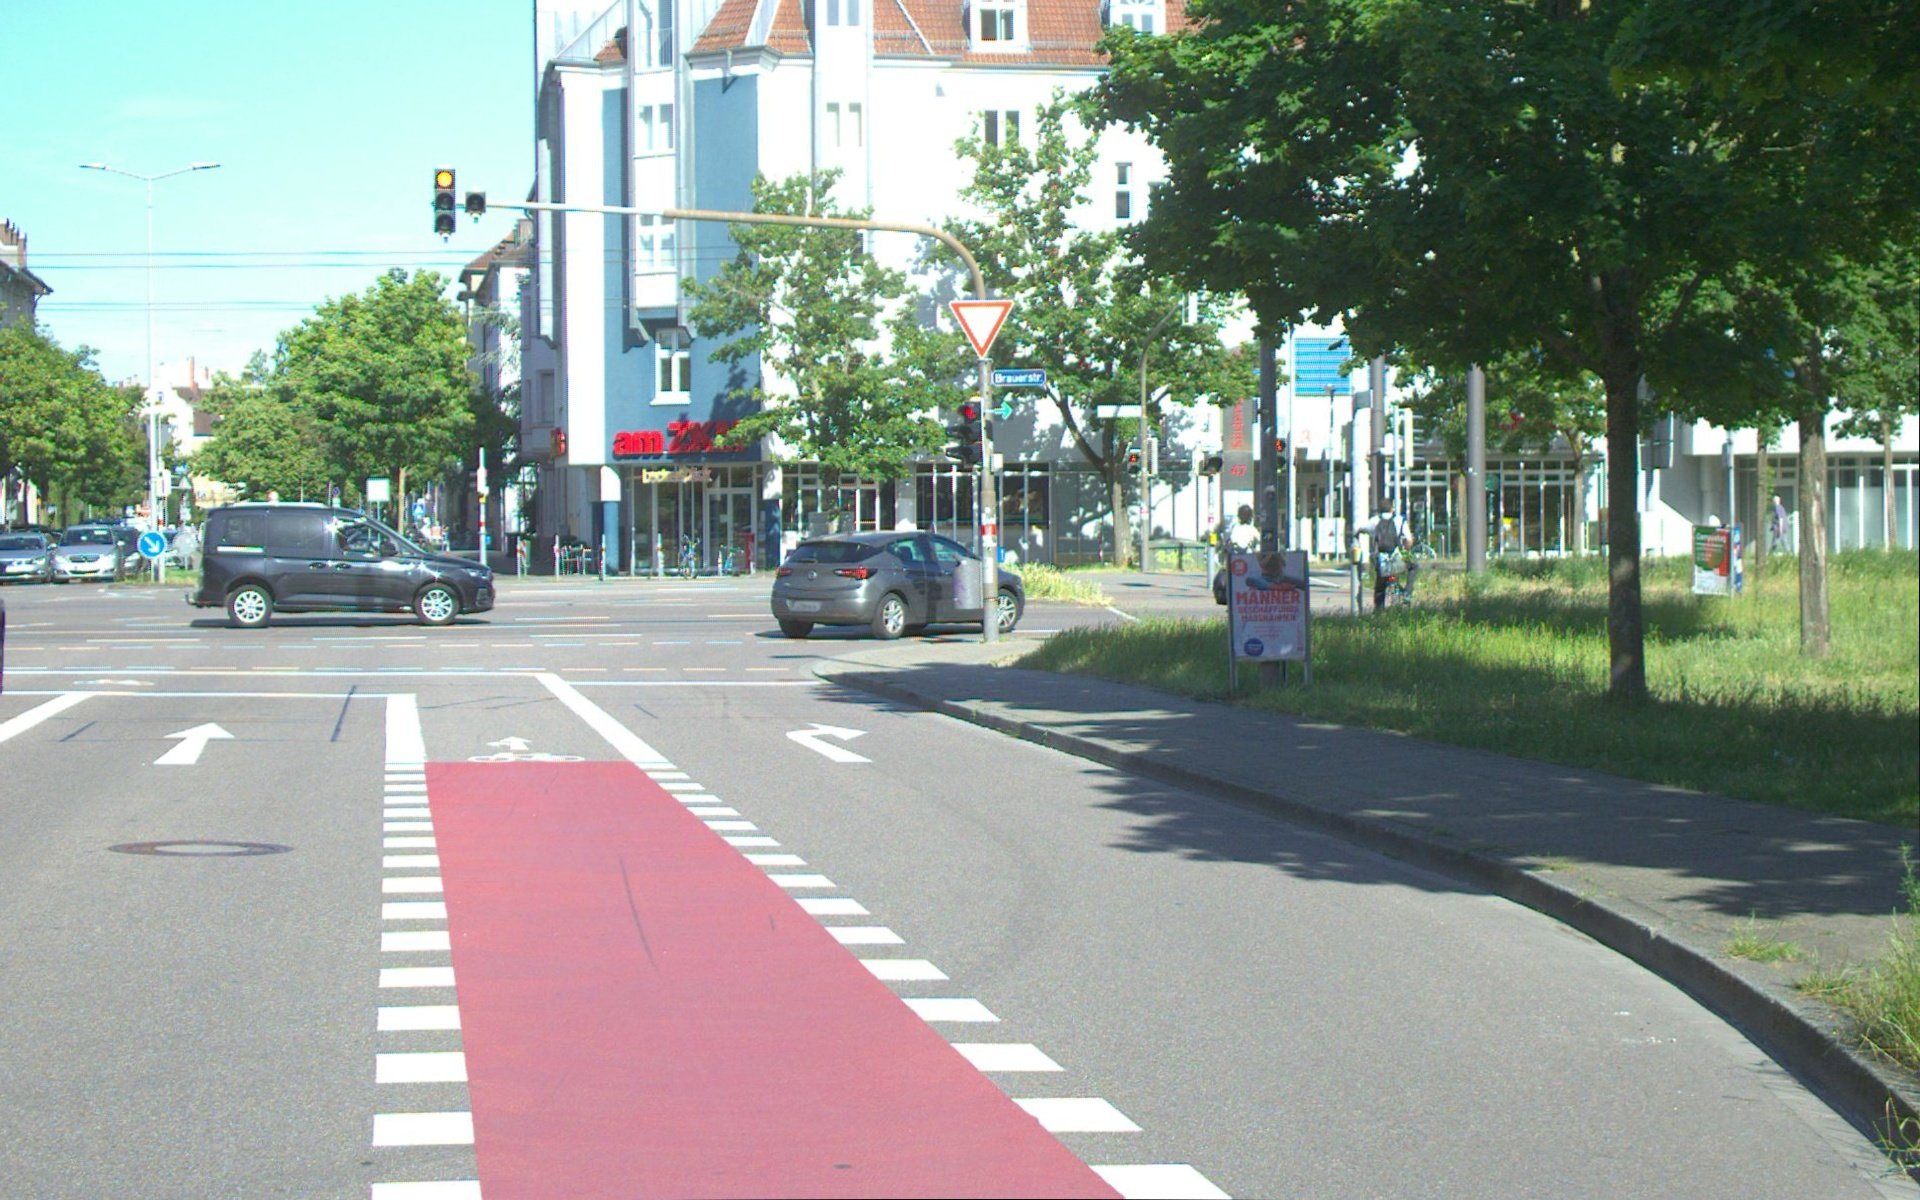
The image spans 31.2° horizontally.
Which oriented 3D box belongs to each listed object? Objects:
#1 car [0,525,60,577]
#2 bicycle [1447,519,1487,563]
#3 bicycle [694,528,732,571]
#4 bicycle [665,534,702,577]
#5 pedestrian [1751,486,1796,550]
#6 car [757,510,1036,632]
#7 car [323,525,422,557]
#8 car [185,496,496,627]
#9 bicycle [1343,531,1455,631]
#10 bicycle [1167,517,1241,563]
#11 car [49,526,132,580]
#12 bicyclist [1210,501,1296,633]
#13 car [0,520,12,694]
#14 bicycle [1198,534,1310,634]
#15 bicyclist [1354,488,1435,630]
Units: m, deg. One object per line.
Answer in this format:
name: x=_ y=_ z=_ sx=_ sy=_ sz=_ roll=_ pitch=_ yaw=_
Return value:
car: x=-26.799 y=-1.413 z=97.865 sx=1.687 sy=1.427 sz=4.401 roll=2 pitch=1 yaw=-7
bicycle: x=13.811 y=-1.619 z=93.701 sx=0.560 sy=1.178 sz=1.870 roll=-1 pitch=1 yaw=-8
bicycle: x=-5.988 y=-1.234 z=83.390 sx=0.471 sy=1.023 sz=1.516 roll=-1 pitch=1 yaw=-22
bicycle: x=-6.662 y=-1.084 z=82.755 sx=0.471 sy=1.023 sz=1.516 roll=-1 pitch=1 yaw=-21
pedestrian: x=22.132 y=-2.240 z=93.502 sx=0.989 sy=1.717 sz=0.654 roll=-1 pitch=1 yaw=-11
car: x=-0.838 y=-0.379 z=47.330 sx=1.692 sy=1.572 sz=3.862 roll=2 pitch=1 yaw=39
car: x=-22.855 y=-2.287 z=133.811 sx=3.566 sy=1.219 sz=1.731 roll=0 pitch=0 yaw=-19
car: x=-9.333 y=-0.576 z=51.674 sx=4.481 sy=1.794 sz=1.765 roll=2 pitch=1 yaw=-13
bicycle: x=6.163 y=-0.277 z=48.179 sx=0.791 sy=1.343 sz=2.259 roll=0 pitch=1 yaw=28
bicycle: x=6.497 y=-1.593 z=91.427 sx=1.863 sy=1.178 sz=0.562 roll=-1 pitch=1 yaw=-14
car: x=-23.969 y=-1.301 z=94.869 sx=1.687 sy=1.427 sz=4.401 roll=2 pitch=1 yaw=-7
bicyclist: x=4.097 y=-0.470 z=47.974 sx=0.791 sy=1.818 sz=1.134 roll=0 pitch=1 yaw=28
car: x=-9.511 y=0.065 z=30.332 sx=1.753 sy=1.622 sz=4.479 roll=2 pitch=1 yaw=-10
bicycle: x=4.122 y=-0.232 z=48.021 sx=0.791 sy=1.343 sz=2.076 roll=0 pitch=1 yaw=28
bicyclist: x=6.066 y=-0.577 z=47.998 sx=0.791 sy=1.952 sz=1.009 roll=0 pitch=1 yaw=28
